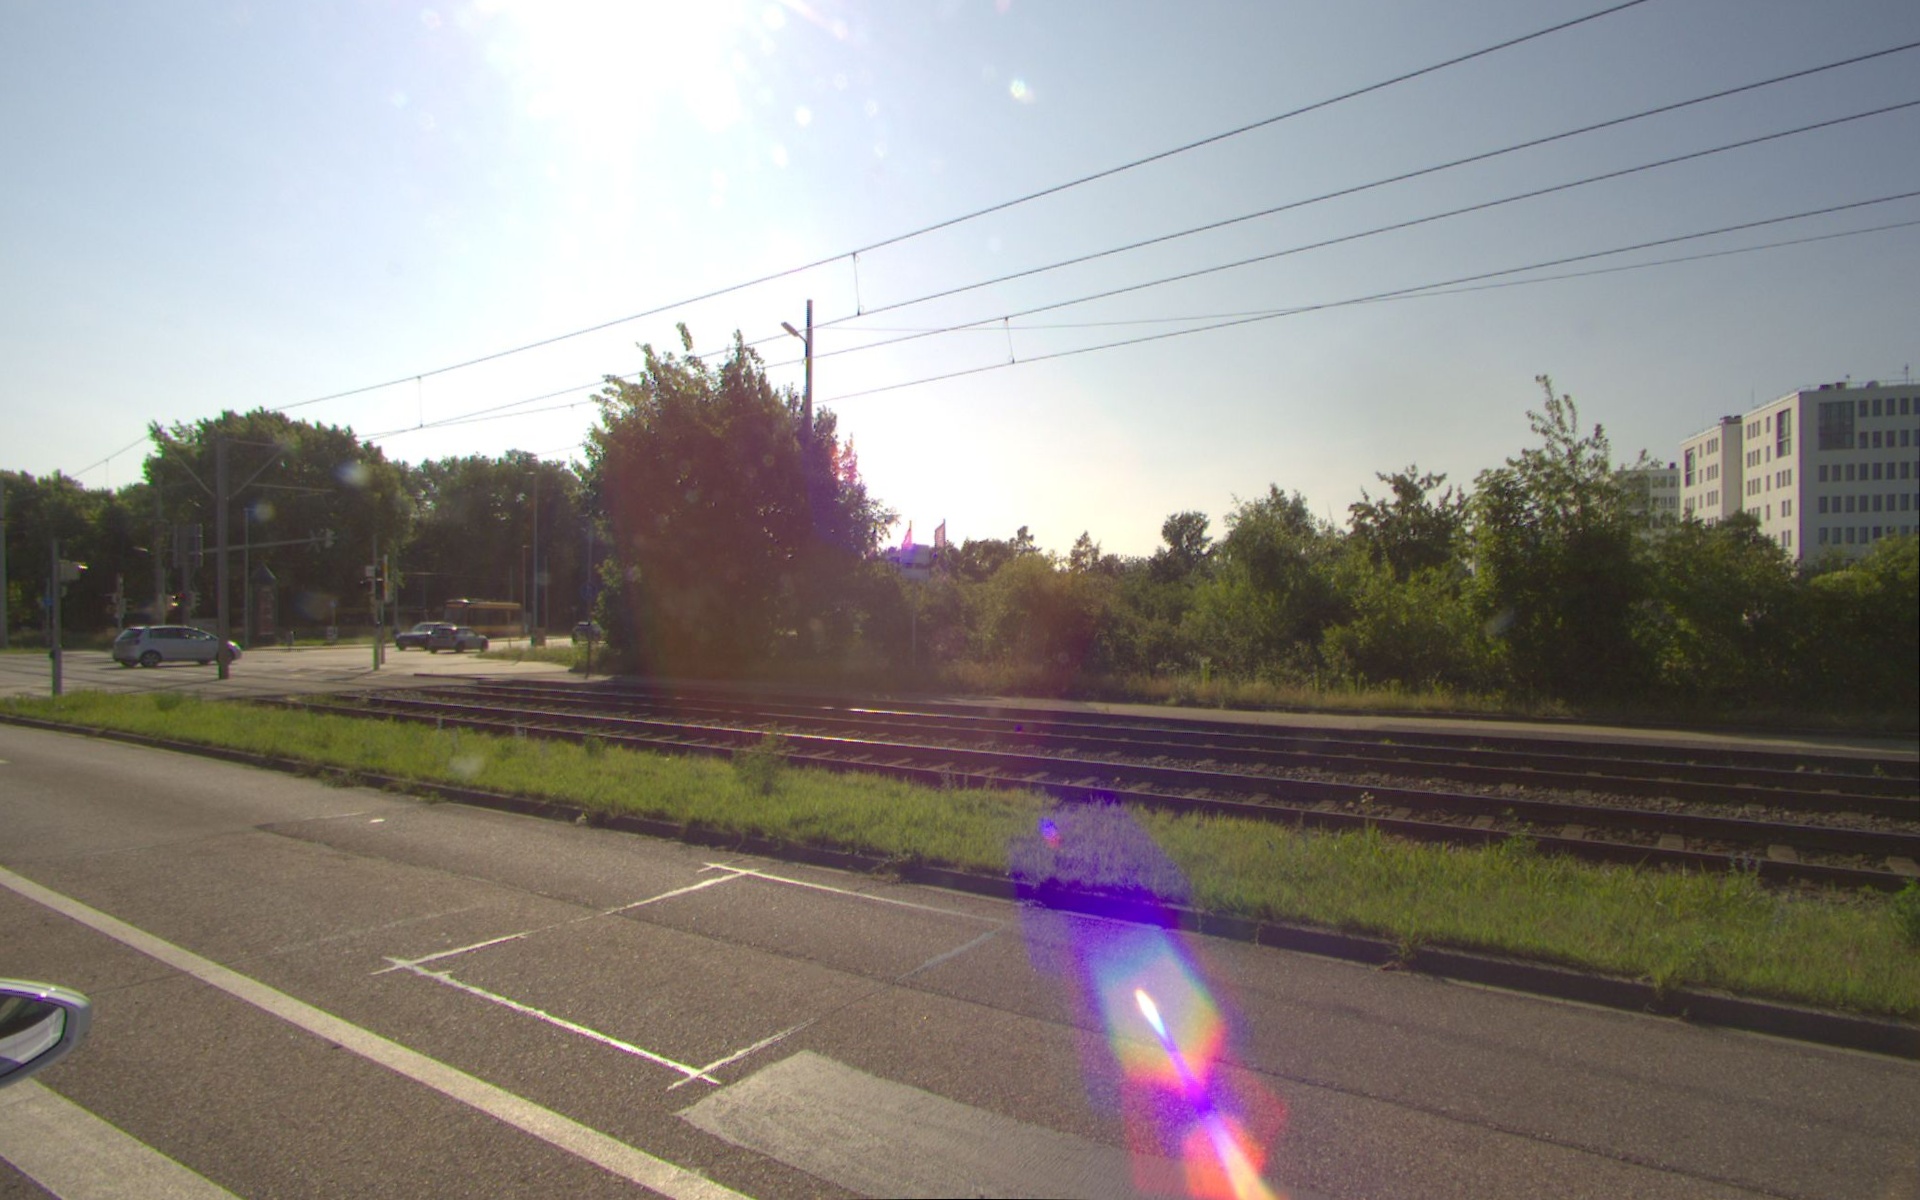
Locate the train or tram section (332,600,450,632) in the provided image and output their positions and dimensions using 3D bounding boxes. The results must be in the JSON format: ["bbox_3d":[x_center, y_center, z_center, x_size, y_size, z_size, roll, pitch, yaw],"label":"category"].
[{"bbox_3d":[-66.495,1.886,117.219,11.992,3.626,3.054,0,-1,-1],"label":"train or tram section"}]

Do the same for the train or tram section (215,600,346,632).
[{"bbox_3d":[-78.208,1.863,115.618,12.027,3.626,3.045,0,-1,-22],"label":"train or tram section"}]

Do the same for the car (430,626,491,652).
[{"bbox_3d":[-28.140,2.168,56.505,1.575,1.401,3.530,0,-1,2],"label":"car"}]

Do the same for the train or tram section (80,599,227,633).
[{"bbox_3d":[-88.972,1.761,110.805,12.249,3.626,3.041,0,-1,-27],"label":"train or tram section"}]

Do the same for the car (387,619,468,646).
[{"bbox_3d":[-31.888,1.927,60.121,2.005,1.583,4.863,0,-1,5],"label":"car"}]

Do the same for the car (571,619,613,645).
[{"bbox_3d":[-27.867,2.443,76.024,1.617,1.743,4.627,1,-4,-2],"label":"car"}]

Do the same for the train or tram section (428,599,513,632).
[{"bbox_3d":[-55.551,1.746,113.439,12.061,3.626,3.037,-1,-1,34],"label":"train or tram section"}]

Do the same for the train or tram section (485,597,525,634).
[{"bbox_3d":[-47.645,1.628,104.607,3.009,3.626,12.174,0,-1,-28],"label":"train or tram section"}]

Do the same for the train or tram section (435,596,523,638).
[{"bbox_3d":[-44.481,1.572,93.224,2.995,3.626,11.853,0,-1,-3],"label":"train or tram section"}]

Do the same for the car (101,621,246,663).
[{"bbox_3d":[-31.350,1.626,40.035,1.828,1.583,4.185,0,-1,30],"label":"car"}]
